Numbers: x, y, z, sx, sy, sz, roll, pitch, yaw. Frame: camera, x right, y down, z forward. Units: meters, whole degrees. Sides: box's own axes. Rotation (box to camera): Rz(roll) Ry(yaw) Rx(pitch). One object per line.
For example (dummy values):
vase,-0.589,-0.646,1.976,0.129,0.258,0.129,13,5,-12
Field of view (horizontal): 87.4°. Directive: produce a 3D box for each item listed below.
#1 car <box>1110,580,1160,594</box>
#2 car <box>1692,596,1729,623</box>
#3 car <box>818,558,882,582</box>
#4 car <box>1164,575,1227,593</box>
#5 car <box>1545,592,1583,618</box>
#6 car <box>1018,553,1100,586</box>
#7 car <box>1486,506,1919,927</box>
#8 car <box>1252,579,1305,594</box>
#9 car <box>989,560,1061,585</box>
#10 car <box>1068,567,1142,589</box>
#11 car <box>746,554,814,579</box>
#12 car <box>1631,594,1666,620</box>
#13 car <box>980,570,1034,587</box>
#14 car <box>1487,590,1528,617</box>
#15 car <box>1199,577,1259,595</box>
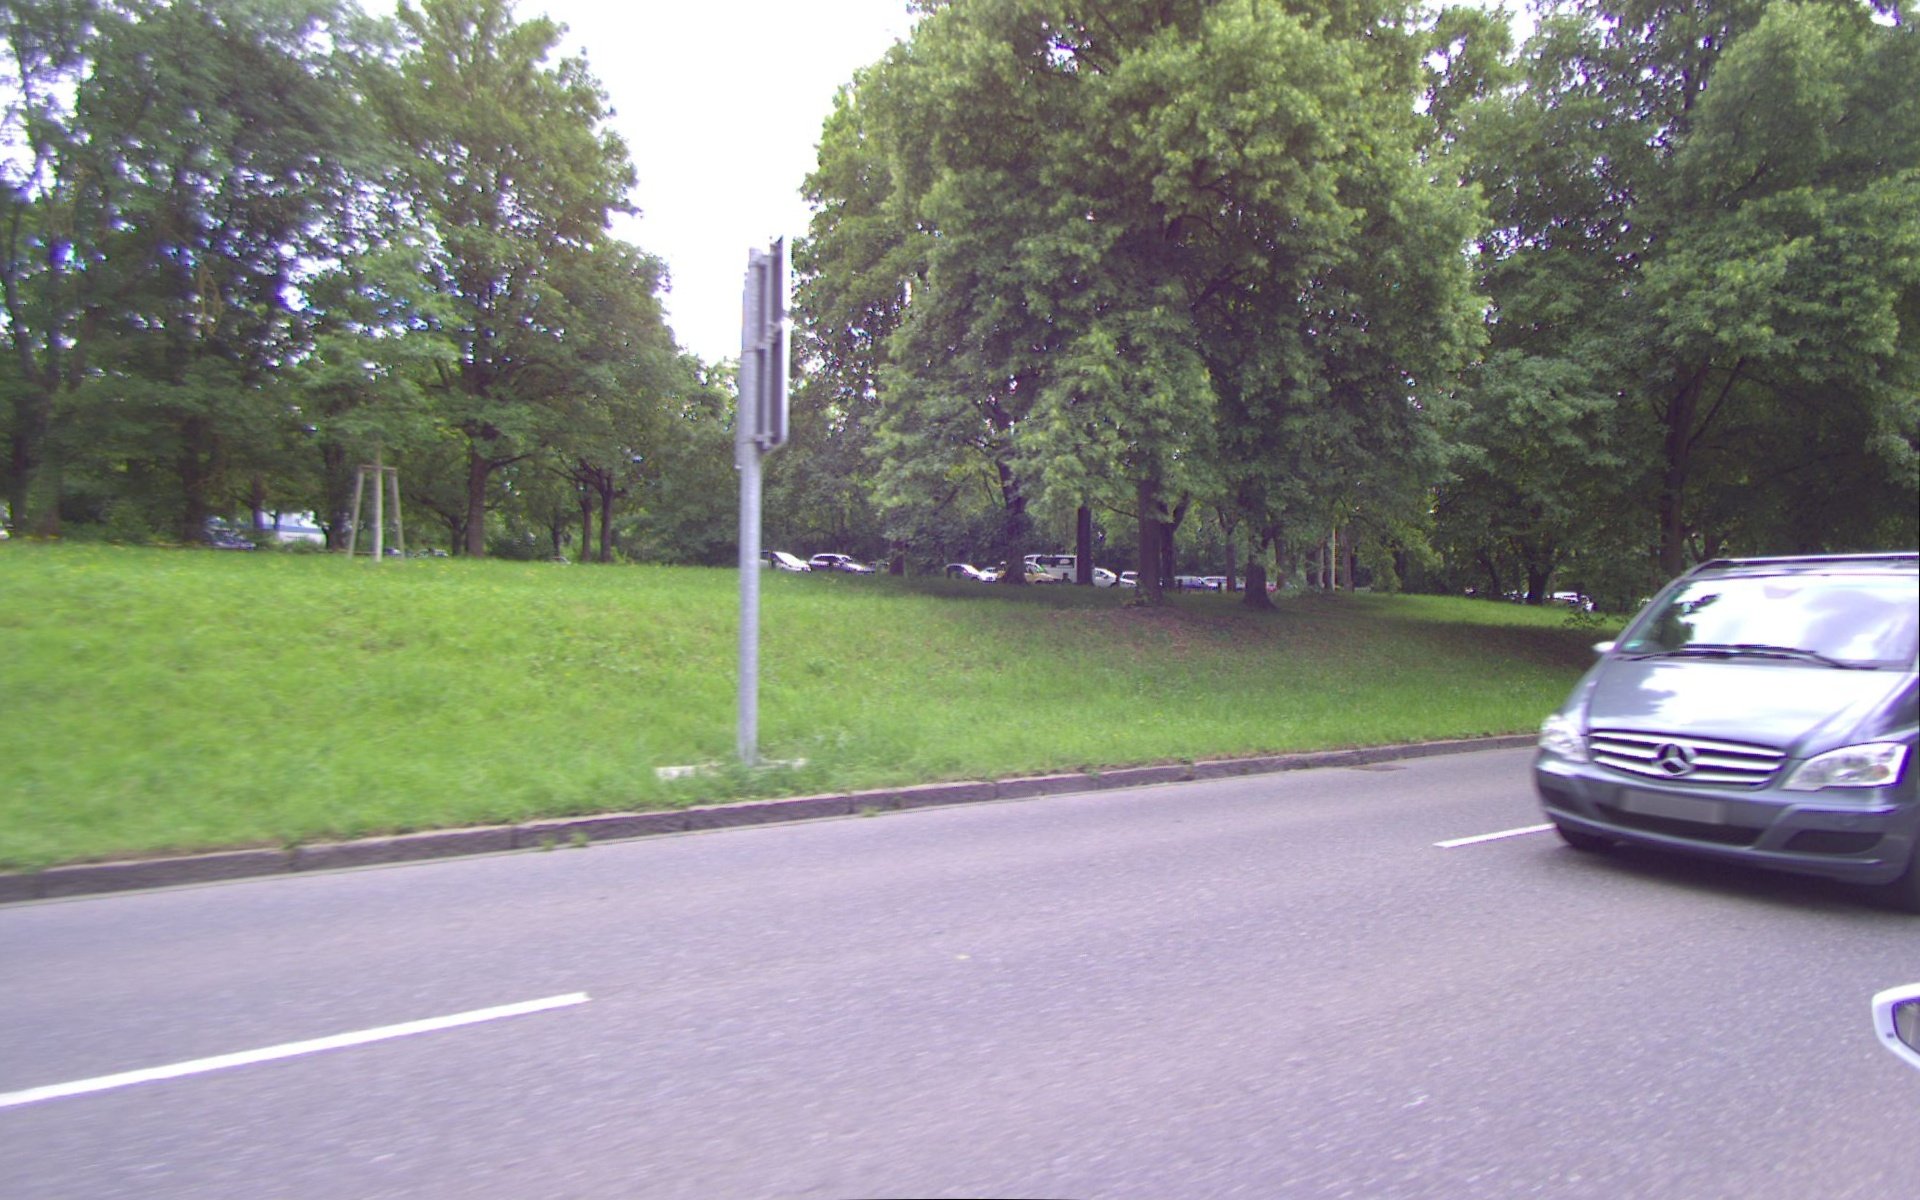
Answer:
car,15.679,-1.171,90.003,3.919,1.226,1.897,1,0,35
car,43.762,0.560,58.634,1.624,1.506,3.986,1,0,36
car,-6.172,-1.667,56.203,3.448,1.250,1.396,1,0,32
car,16.699,-1.129,71.132,3.919,1.226,1.897,1,0,35
car,37.163,0.310,61.775,1.624,1.506,3.986,1,0,36
car,5.259,-1.622,53.671,4.048,1.706,1.748,1,0,37
car,6.083,0.616,6.896,5.122,1.981,1.984,1,-1,-30
car,27.132,-1.133,85.510,3.919,1.226,1.897,1,0,35
car,3.328,-1.426,51.589,3.448,1.226,1.396,1,0,32
car,8.635,-1.309,59.867,3.919,1.226,1.897,1,0,35
car,-9.401,-1.740,52.449,3.448,1.250,1.396,1,0,32
car,41.489,0.413,60.472,1.624,1.506,3.986,1,0,36
car,3.794,-1.746,81.443,3.919,1.226,1.897,1,0,35
car,32.227,0.195,59.123,1.624,1.506,3.986,1,0,36
car,20.129,-1.052,75.210,3.919,1.226,1.897,1,0,35
